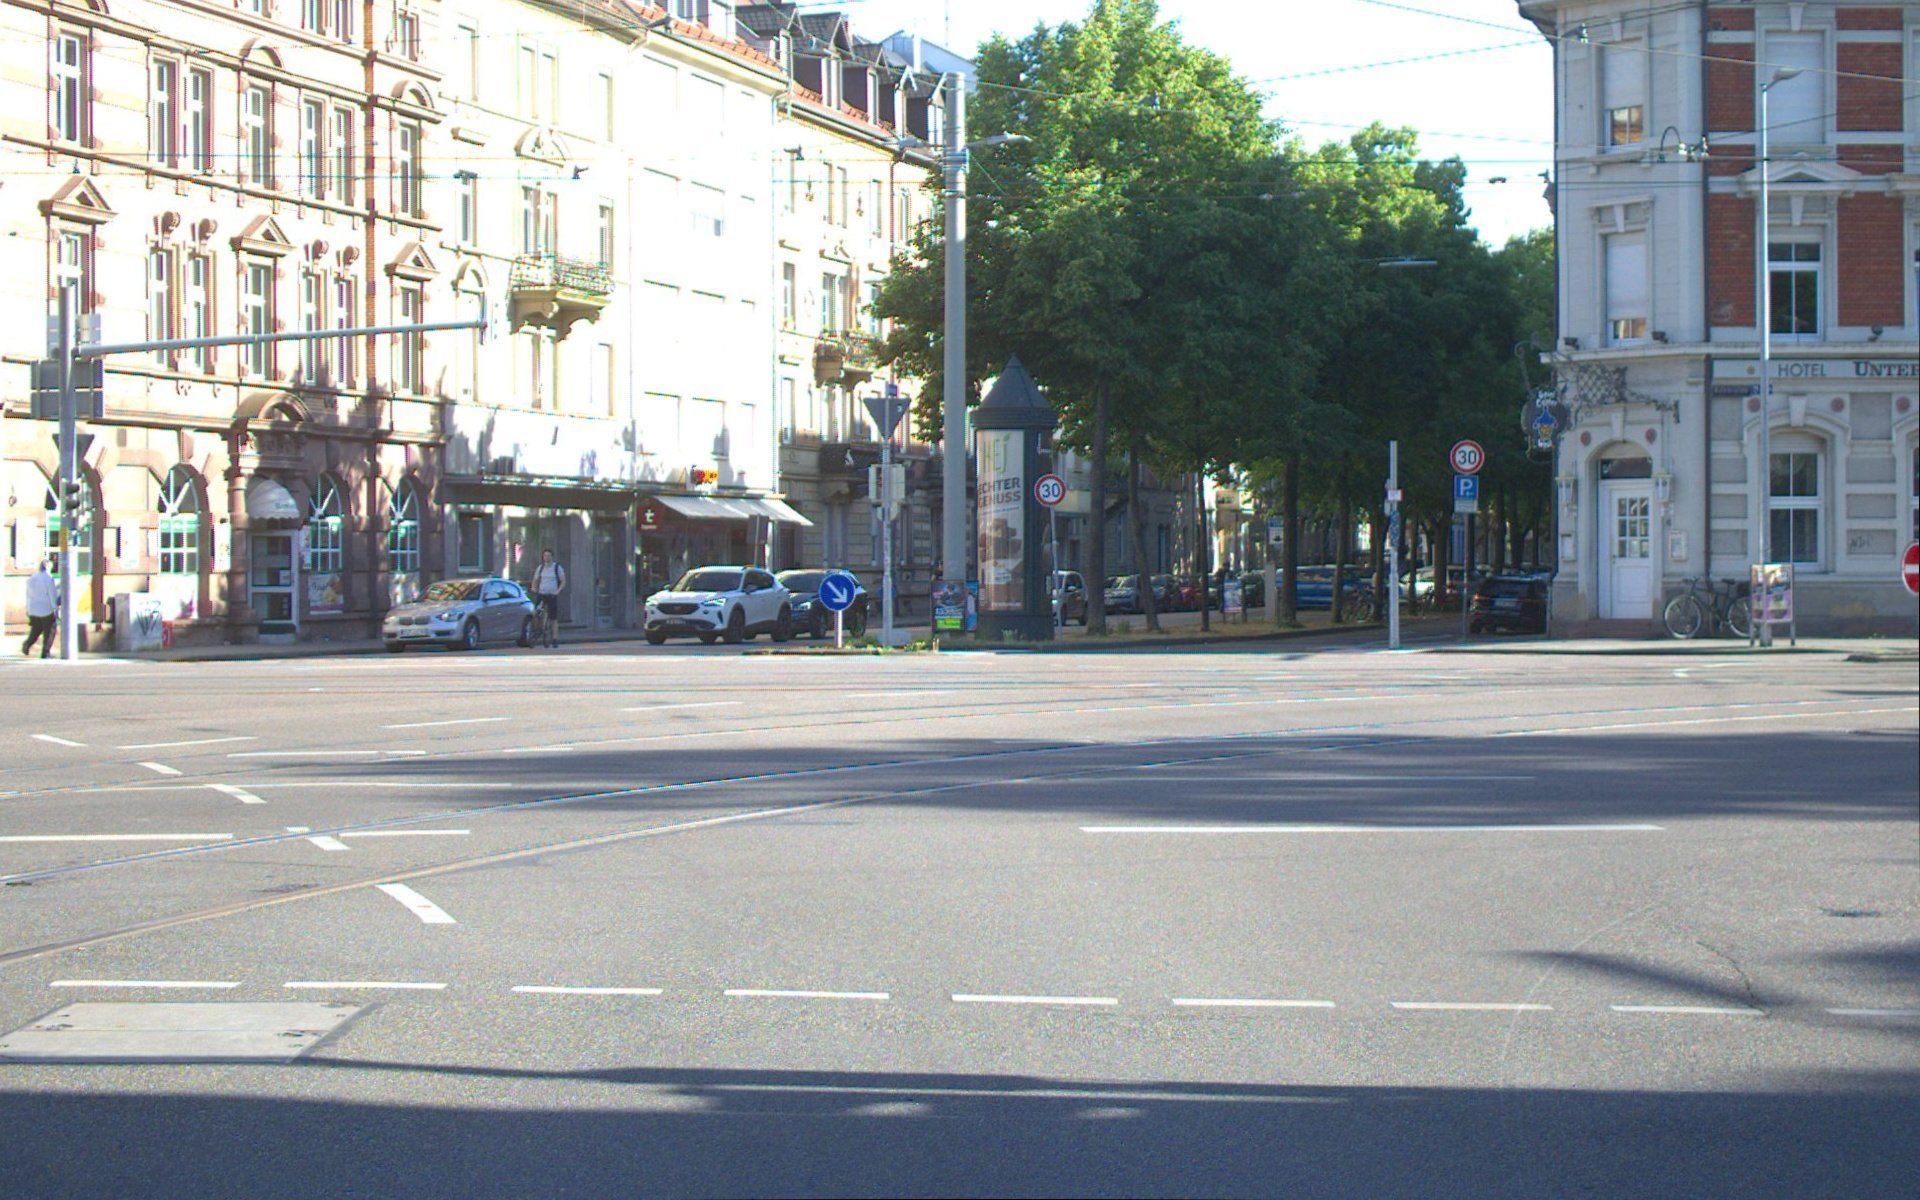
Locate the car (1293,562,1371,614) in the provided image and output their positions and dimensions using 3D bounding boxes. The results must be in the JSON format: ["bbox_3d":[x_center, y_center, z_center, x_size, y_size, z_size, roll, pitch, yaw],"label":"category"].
[{"bbox_3d":[12.629,-0.416,116.606,1.995,1.678,3.997,1,1,15],"label":"car"}]

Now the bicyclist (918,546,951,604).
[{"bbox_3d":[-0.681,-0.680,93.054,0.674,1.563,0.747,1,0,18],"label":"bicyclist"}]

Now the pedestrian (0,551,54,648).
[{"bbox_3d":[-15.826,-0.010,58.216,0.568,1.636,0.792,1,0,23],"label":"pedestrian"}]

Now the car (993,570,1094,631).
[{"bbox_3d":[2.276,-0.008,92.608,1.804,1.570,3.888,1,1,15],"label":"car"}]

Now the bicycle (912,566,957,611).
[{"bbox_3d":[-0.686,-0.323,93.055,0.674,1.203,1.820,1,1,18],"label":"bicycle"}]

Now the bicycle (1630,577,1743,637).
[{"bbox_3d":[12.070,0.107,57.115,1.804,0.959,0.603,1,0,14],"label":"bicycle"}]

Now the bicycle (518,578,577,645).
[{"bbox_3d":[-7.822,0.207,65.174,0.565,1.250,1.556,1,0,14],"label":"bicycle"}]

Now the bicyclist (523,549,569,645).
[{"bbox_3d":[-7.840,-0.065,65.125,0.565,1.797,0.913,1,0,15],"label":"bicyclist"}]

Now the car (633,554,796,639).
[{"bbox_3d":[-4.766,-0.086,67.253,1.804,1.579,4.156,1,1,17],"label":"car"}]

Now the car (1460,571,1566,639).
[{"bbox_3d":[13.297,0.108,82.508,1.758,1.550,3.996,1,1,20],"label":"car"}]

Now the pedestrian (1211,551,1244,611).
[{"bbox_3d":[9.041,-0.642,116.149,0.944,2.007,0.826,1,0,14],"label":"pedestrian"}]

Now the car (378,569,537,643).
[{"bbox_3d":[-9.772,0.105,67.091,1.661,1.369,3.889,1,1,15],"label":"car"}]

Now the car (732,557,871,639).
[{"bbox_3d":[-3.359,-0.057,73.611,1.826,1.679,3.872,1,1,16],"label":"car"}]

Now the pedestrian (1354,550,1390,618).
[{"bbox_3d":[12.238,-0.488,102.168,0.961,2.007,0.918,1,0,1],"label":"pedestrian"}]
